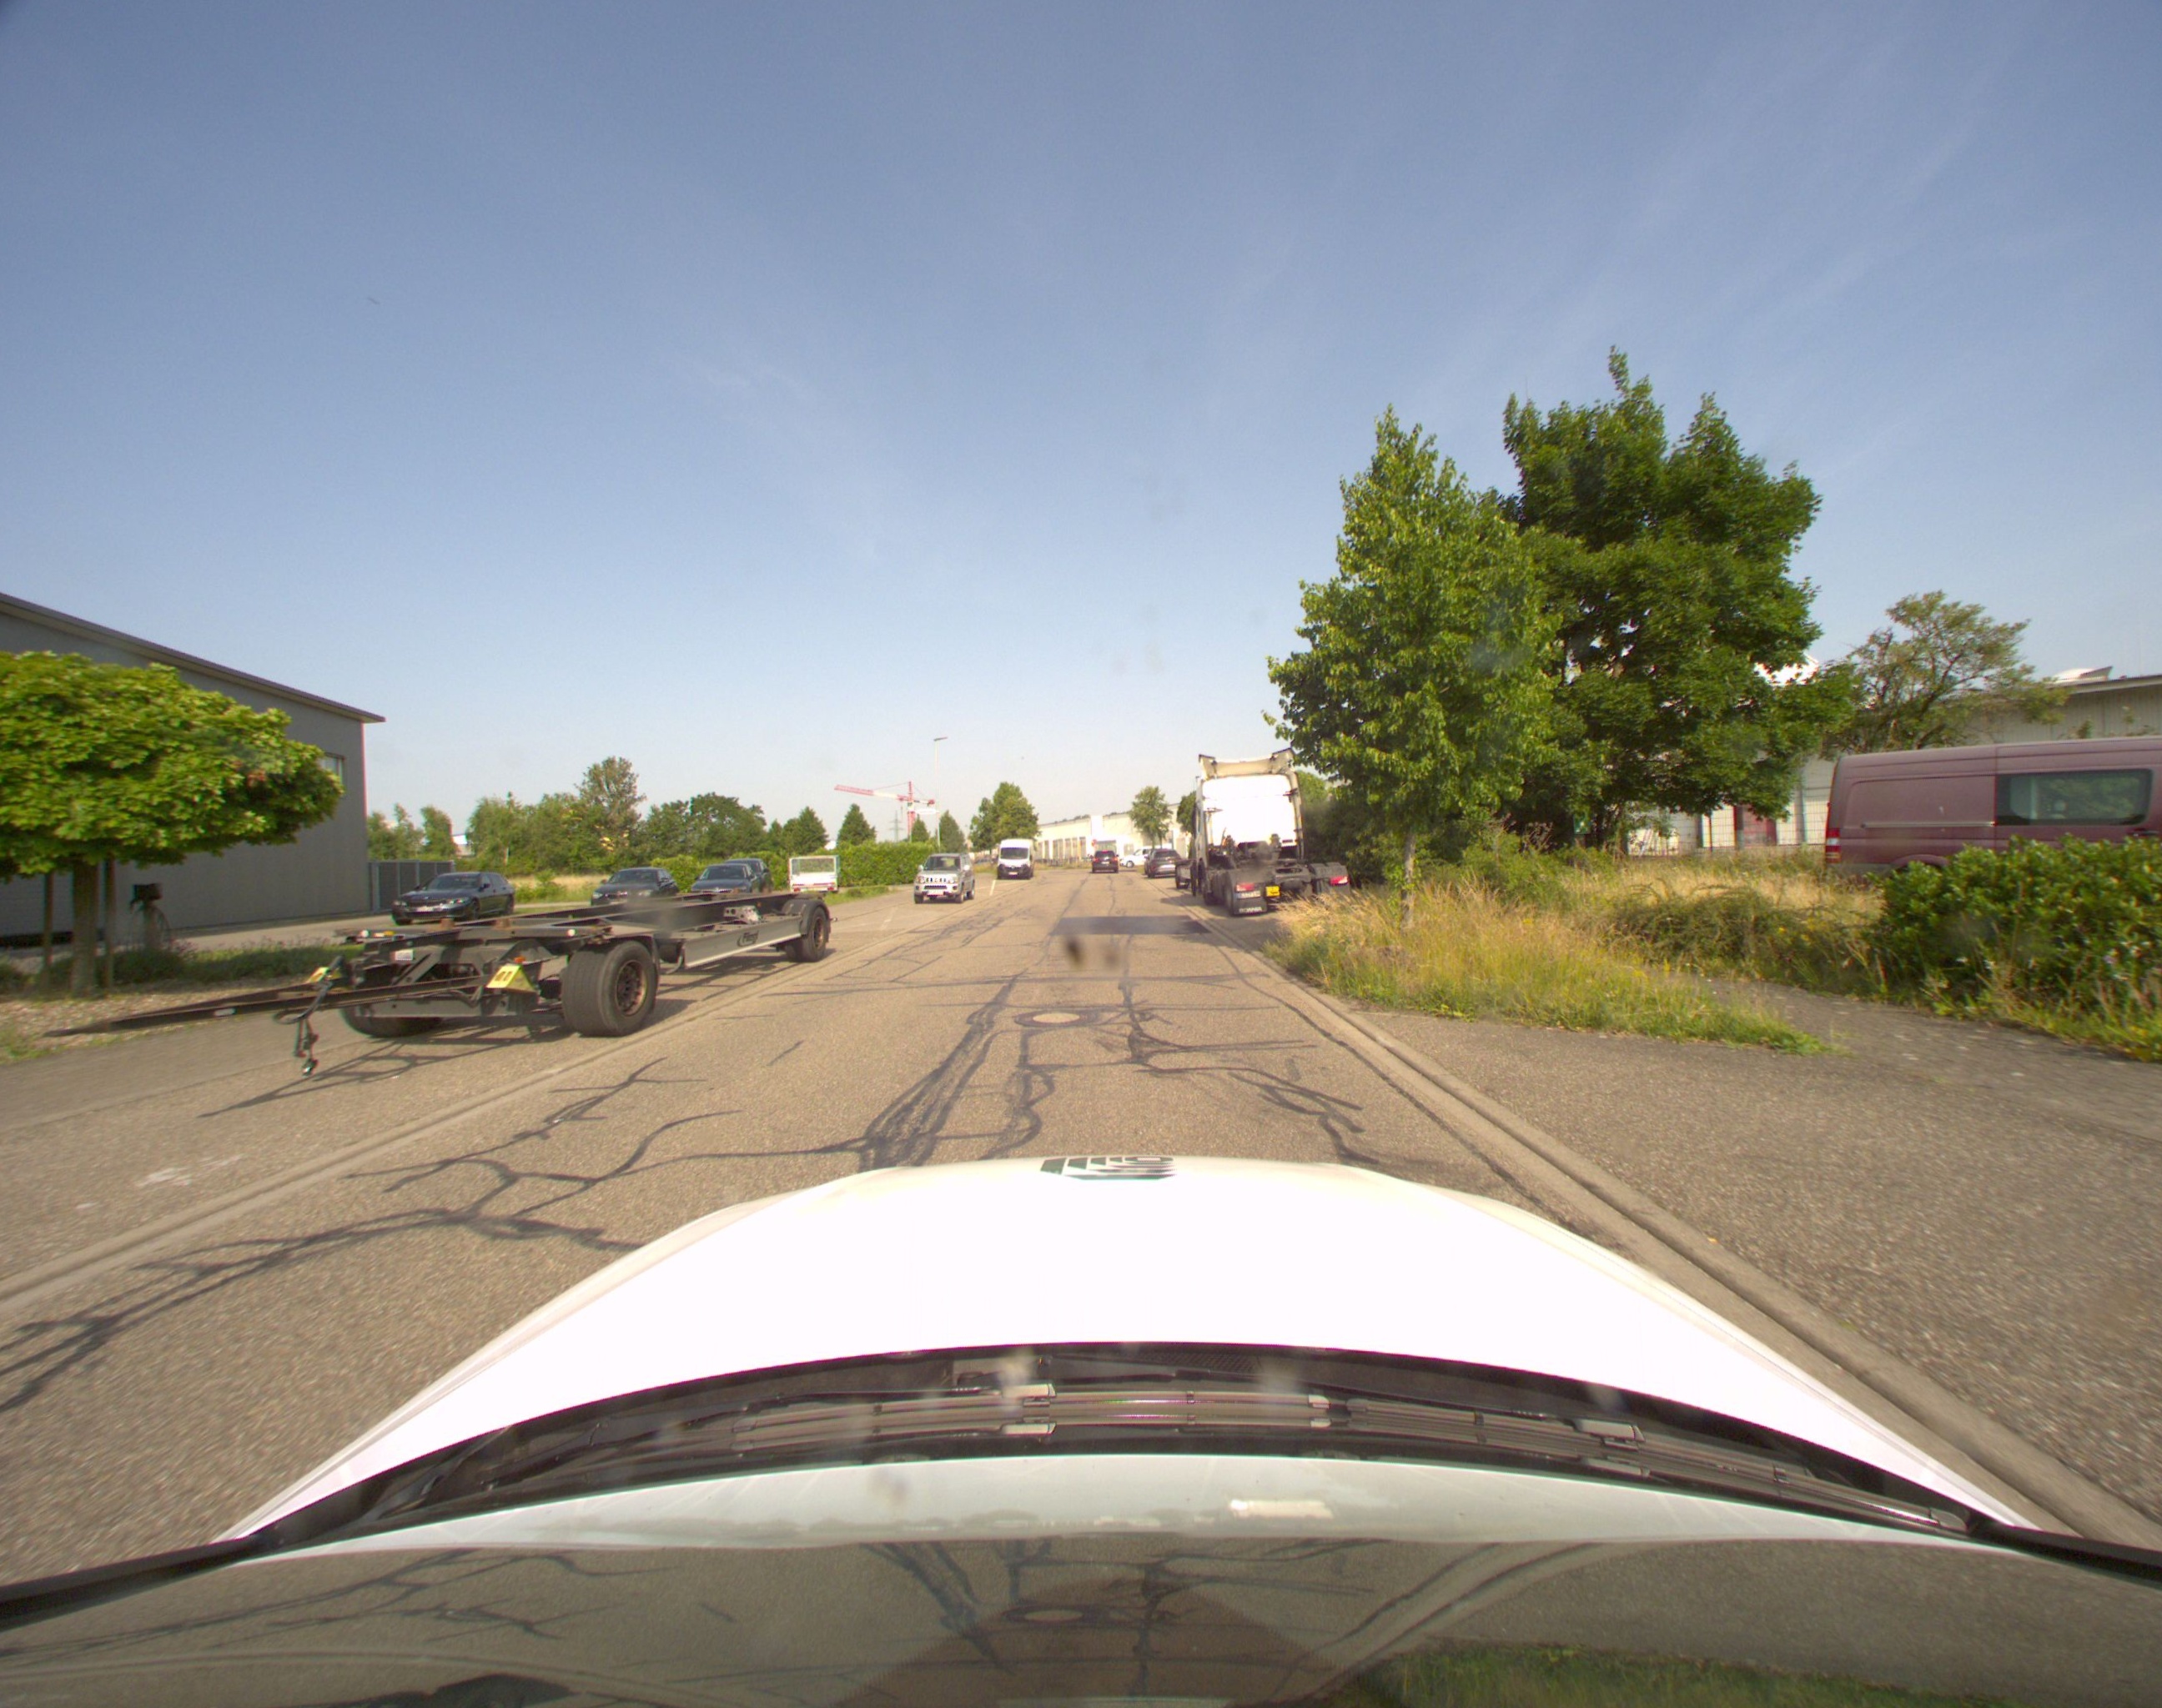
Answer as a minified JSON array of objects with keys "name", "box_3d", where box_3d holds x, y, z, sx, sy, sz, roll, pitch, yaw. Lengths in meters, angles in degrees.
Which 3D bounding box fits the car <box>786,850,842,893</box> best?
[{"name":"car","box_3d":[-10.318,0.656,31.673,1.836,1.572,3.797,0,-1,-15]}]

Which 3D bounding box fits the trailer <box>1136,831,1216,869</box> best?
[{"name":"trailer","box_3d":[10.709,-0.492,91.759,8.567,3.893,2.756,-2,0,-21]}]

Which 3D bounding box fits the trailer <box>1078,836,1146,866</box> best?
[{"name":"trailer","box_3d":[4.064,-0.363,107.372,8.570,3.894,2.755,1,-1,-23]}]

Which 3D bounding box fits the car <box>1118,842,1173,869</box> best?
[{"name":"car","box_3d":[5.673,0.143,72.147,4.595,2.110,2.127,-2,-1,-1]}]

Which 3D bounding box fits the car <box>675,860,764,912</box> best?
[{"name":"car","box_3d":[-11.523,0.966,26.242,1.980,1.476,4.398,-1,0,-16]}]

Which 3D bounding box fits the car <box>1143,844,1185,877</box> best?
[{"name":"car","box_3d":[4.402,0.362,43.852,1.874,1.574,4.115,-3,-1,2]}]

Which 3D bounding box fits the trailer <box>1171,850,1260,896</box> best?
[{"name":"trailer","box_3d":[4.337,0.546,27.545,1.931,1.235,7.454,-4,0,2]}]

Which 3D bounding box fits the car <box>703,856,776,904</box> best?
[{"name":"car","box_3d":[-12.973,0.928,31.196,1.993,1.658,4.398,-1,0,-16]}]

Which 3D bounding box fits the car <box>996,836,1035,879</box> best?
[{"name":"car","box_3d":[-4.199,0.236,52.822,2.096,2.595,6.500,1,0,-1]}]

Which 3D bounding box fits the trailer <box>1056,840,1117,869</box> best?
[{"name":"trailer","box_3d":[0.837,0.097,115.973,8.341,3.894,2.755,1,-1,-23]}]

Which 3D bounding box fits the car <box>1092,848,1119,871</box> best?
[{"name":"car","box_3d":[1.803,0.391,59.406,1.873,1.586,4.115,-1,-1,2]}]

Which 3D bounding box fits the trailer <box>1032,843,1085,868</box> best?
[{"name":"trailer","box_3d":[-3.512,0.256,128.291,7.995,3.894,2.755,1,-1,-23]}]

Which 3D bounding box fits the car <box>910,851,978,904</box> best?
[{"name":"car","box_3d":[-4.658,0.744,28.153,1.591,1.651,3.645,-2,0,2]}]

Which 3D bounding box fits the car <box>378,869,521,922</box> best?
[{"name":"car","box_3d":[-18.734,1.165,24.426,1.995,1.324,4.324,-1,0,-18]}]

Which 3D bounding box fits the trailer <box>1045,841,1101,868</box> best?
[{"name":"trailer","box_3d":[-1.137,0.129,122.614,7.995,3.894,2.755,1,-1,-23]}]

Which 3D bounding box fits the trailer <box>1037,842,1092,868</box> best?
[{"name":"trailer","box_3d":[-2.532,0.201,125.278,7.995,3.894,2.755,1,-1,-23]}]

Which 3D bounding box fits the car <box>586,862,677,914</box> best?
[{"name":"car","box_3d":[-14.065,0.998,25.709,1.684,1.476,4.324,-1,0,-18]}]

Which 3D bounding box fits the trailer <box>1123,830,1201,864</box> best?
[{"name":"trailer","box_3d":[9.470,-0.816,94.995,8.767,3.761,2.770,-1,-1,-22]}]

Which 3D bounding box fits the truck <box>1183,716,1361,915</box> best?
[{"name":"truck","box_3d":[4.356,-0.796,19.986,2.683,3.964,6.046,-4,0,0]}]

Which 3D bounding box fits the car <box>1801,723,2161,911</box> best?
[{"name":"car","box_3d":[15.069,-0.490,12.288,2.588,2.525,5.977,1,-1,-39]}]

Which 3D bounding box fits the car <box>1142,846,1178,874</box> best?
[{"name":"car","box_3d":[4.881,0.374,50.871,1.873,1.574,5.120,-3,-1,2]}]

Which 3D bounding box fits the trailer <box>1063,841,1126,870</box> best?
[{"name":"trailer","box_3d":[1.896,0.204,113.119,8.341,3.894,2.755,1,-1,-23]}]

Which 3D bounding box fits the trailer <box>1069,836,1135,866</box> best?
[{"name":"trailer","box_3d":[2.858,-0.333,110.297,8.570,3.894,2.755,1,-1,-23]}]

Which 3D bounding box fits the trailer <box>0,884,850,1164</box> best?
[{"name":"trailer","box_3d":[-5.392,1.082,9.180,2.536,1.074,9.735,0,0,2]}]

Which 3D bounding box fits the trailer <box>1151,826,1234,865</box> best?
[{"name":"trailer","box_3d":[12.065,-0.929,88.199,8.565,3.894,2.756,-1,-3,-20]}]
